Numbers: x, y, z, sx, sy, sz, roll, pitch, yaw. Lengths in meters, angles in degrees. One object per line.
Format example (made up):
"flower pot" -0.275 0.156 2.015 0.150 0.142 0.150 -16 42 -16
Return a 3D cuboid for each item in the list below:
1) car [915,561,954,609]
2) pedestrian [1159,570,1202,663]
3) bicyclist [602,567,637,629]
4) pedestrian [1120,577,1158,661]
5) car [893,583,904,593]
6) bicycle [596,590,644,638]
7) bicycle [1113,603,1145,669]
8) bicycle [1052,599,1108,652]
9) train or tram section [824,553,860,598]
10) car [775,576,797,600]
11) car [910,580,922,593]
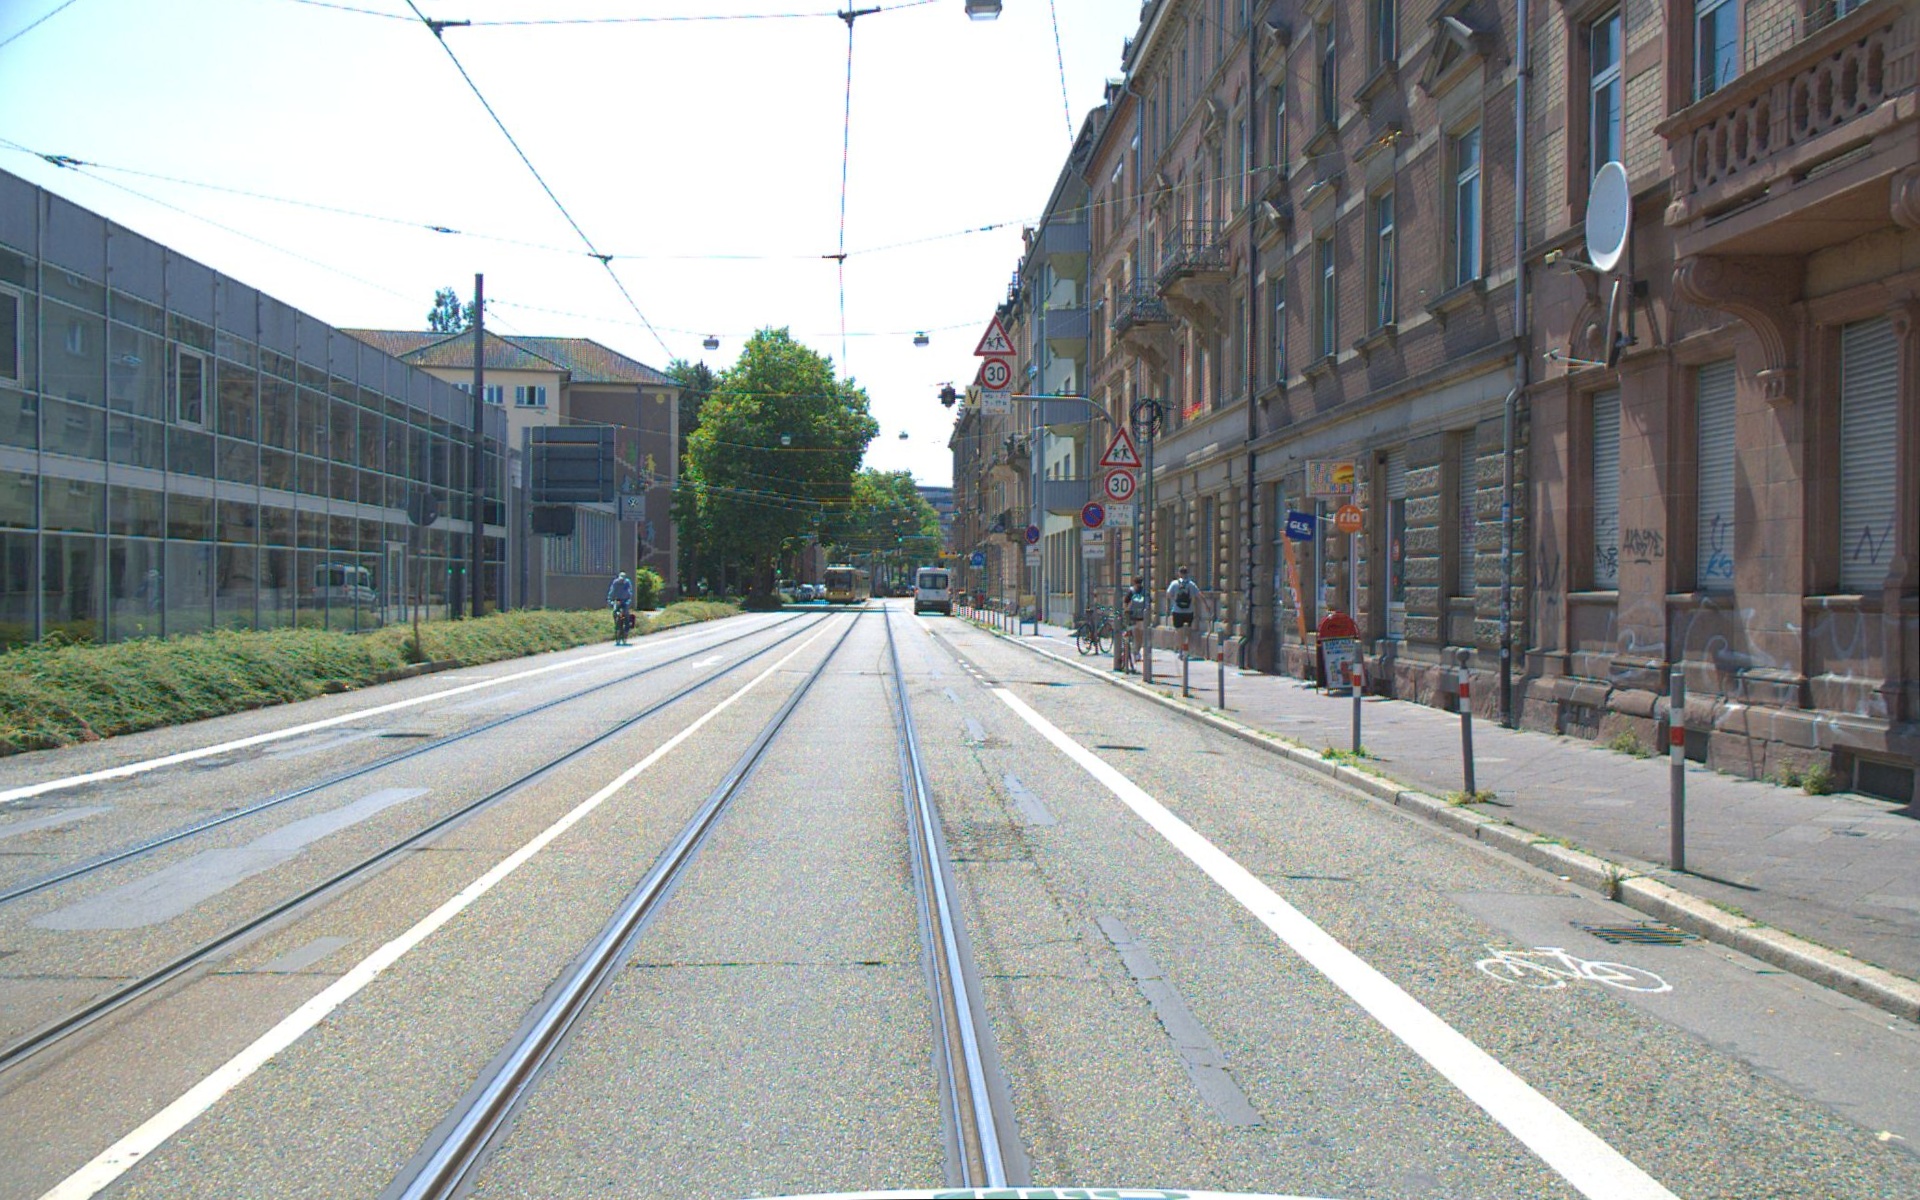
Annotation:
"car" -1.450 -0.821 91.881 2.025 2.544 5.452 1 0 -2
"pedestrian" 4.627 0.339 34.752 0.688 1.881 0.643 -3 0 -2
"bicyclist" -8.752 -0.048 42.558 0.683 1.575 0.980 0 0 1
"pedestrian" 3.768 0.391 34.823 0.705 1.750 0.643 0 0 -2
"car" -9.324 -1.821 249.973 1.498 1.433 3.486 1 0 -5
"bicycle" -8.742 0.344 42.609 0.683 1.164 2.496 0 1 1
"bicycle" 3.063 0.627 30.134 0.438 1.116 2.424 0 1 3
"bicycle" 2.765 0.564 37.866 0.489 1.150 2.241 0 1 25
"train or tram section" -10.136 -2.108 142.986 2.902 3.642 13.415 0 1 -3
"car" -14.886 -1.021 141.287 1.765 1.956 3.996 1 0 -5
"car" -6.900 -2.090 258.424 1.641 1.892 3.996 1 0 -5
